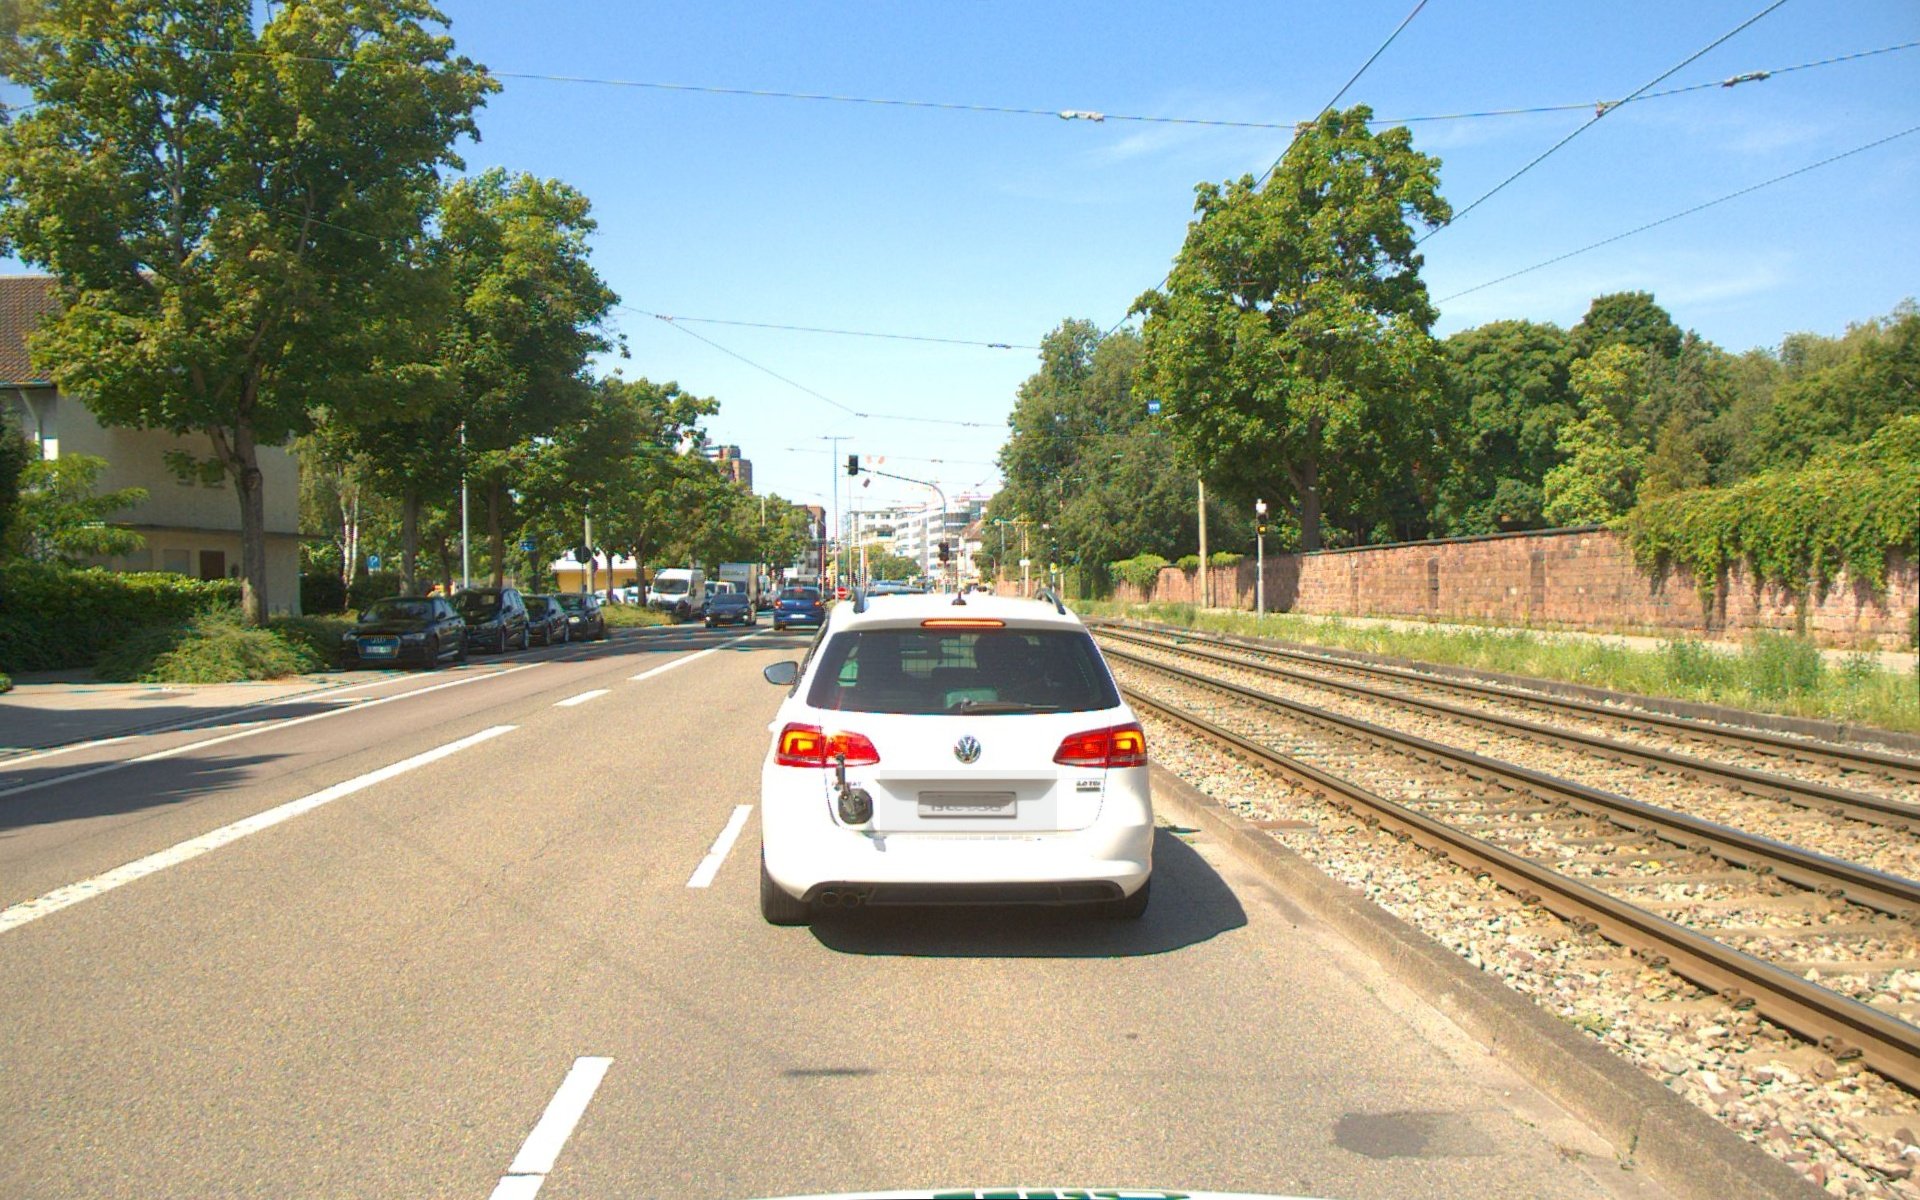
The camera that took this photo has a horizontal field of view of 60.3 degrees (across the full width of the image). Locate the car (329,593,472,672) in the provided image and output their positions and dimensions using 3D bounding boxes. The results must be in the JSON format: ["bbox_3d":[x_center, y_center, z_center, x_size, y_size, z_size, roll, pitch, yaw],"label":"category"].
[{"bbox_3d":[-11.835,0.633,35.310,1.804,1.491,4.904,-1,1,-6],"label":"car"}]

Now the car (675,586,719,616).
[{"bbox_3d":[-14.090,0.019,88.870,1.807,1.543,4.195,-1,1,-3],"label":"car"}]

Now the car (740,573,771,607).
[{"bbox_3d":[-15.601,-0.773,126.252,1.806,2.538,5.854,-1,1,-2],"label":"car"}]

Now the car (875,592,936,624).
[{"bbox_3d":[-2.500,0.347,77.019,1.709,1.432,3.916,1,1,16],"label":"car"}]

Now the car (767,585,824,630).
[{"bbox_3d":[-5.533,0.214,55.929,1.711,1.432,3.911,1,1,-3],"label":"car"}]

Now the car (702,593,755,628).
[{"bbox_3d":[-8.926,0.372,63.967,1.654,1.266,4.062,-1,1,-3],"label":"car"}]

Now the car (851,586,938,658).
[{"bbox_3d":[-1.401,0.422,34.909,1.711,1.412,3.911,1,1,-3],"label":"car"}]

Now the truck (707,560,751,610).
[{"bbox_3d":[-15.244,-0.990,109.510,2.309,3.177,6.887,-1,1,-3],"label":"truck"}]

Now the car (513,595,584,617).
[{"bbox_3d":[-25.368,0.368,102.002,3.905,1.246,1.771,-1,1,0],"label":"car"}]

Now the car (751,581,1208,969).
[{"bbox_3d":[-0.028,0.658,8.286,1.733,1.471,3.910,1,1,-3],"label":"car"}]

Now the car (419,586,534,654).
[{"bbox_3d":[-12.359,0.462,42.533,1.726,1.634,4.891,0,1,-3],"label":"car"}]

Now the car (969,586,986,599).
[{"bbox_3d":[1.844,-0.773,171.931,1.550,1.370,3.452,1,0,-3],"label":"car"}]

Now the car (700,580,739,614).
[{"bbox_3d":[-14.821,-0.224,102.163,1.806,1.994,5.132,-1,1,-2],"label":"car"}]

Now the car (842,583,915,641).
[{"bbox_3d":[-2.161,0.274,43.822,1.824,1.441,4.322,1,1,-3],"label":"car"}]

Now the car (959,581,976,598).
[{"bbox_3d":[0.860,-1.181,185.952,1.657,1.844,3.452,1,0,-3],"label":"car"}]

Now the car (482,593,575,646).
[{"bbox_3d":[-12.579,0.536,48.500,1.656,1.403,4.780,-1,1,-3],"label":"car"}]

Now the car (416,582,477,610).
[{"bbox_3d":[-39.179,-0.289,126.301,4.177,2.049,1.996,1,0,-9],"label":"car"}]

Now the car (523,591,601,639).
[{"bbox_3d":[-12.772,0.462,53.302,1.608,1.476,4.003,1,0,-2],"label":"car"}]

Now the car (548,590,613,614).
[{"bbox_3d":[-25.524,0.126,111.387,3.905,1.469,1.771,-1,0,0],"label":"car"}]

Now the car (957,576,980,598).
[{"bbox_3d":[0.971,-1.531,194.500,2.414,2.542,5.907,1,0,-3],"label":"car"}]

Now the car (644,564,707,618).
[{"bbox_3d":[-14.166,-0.484,82.736,2.016,2.544,6.307,1,1,0],"label":"car"}]
